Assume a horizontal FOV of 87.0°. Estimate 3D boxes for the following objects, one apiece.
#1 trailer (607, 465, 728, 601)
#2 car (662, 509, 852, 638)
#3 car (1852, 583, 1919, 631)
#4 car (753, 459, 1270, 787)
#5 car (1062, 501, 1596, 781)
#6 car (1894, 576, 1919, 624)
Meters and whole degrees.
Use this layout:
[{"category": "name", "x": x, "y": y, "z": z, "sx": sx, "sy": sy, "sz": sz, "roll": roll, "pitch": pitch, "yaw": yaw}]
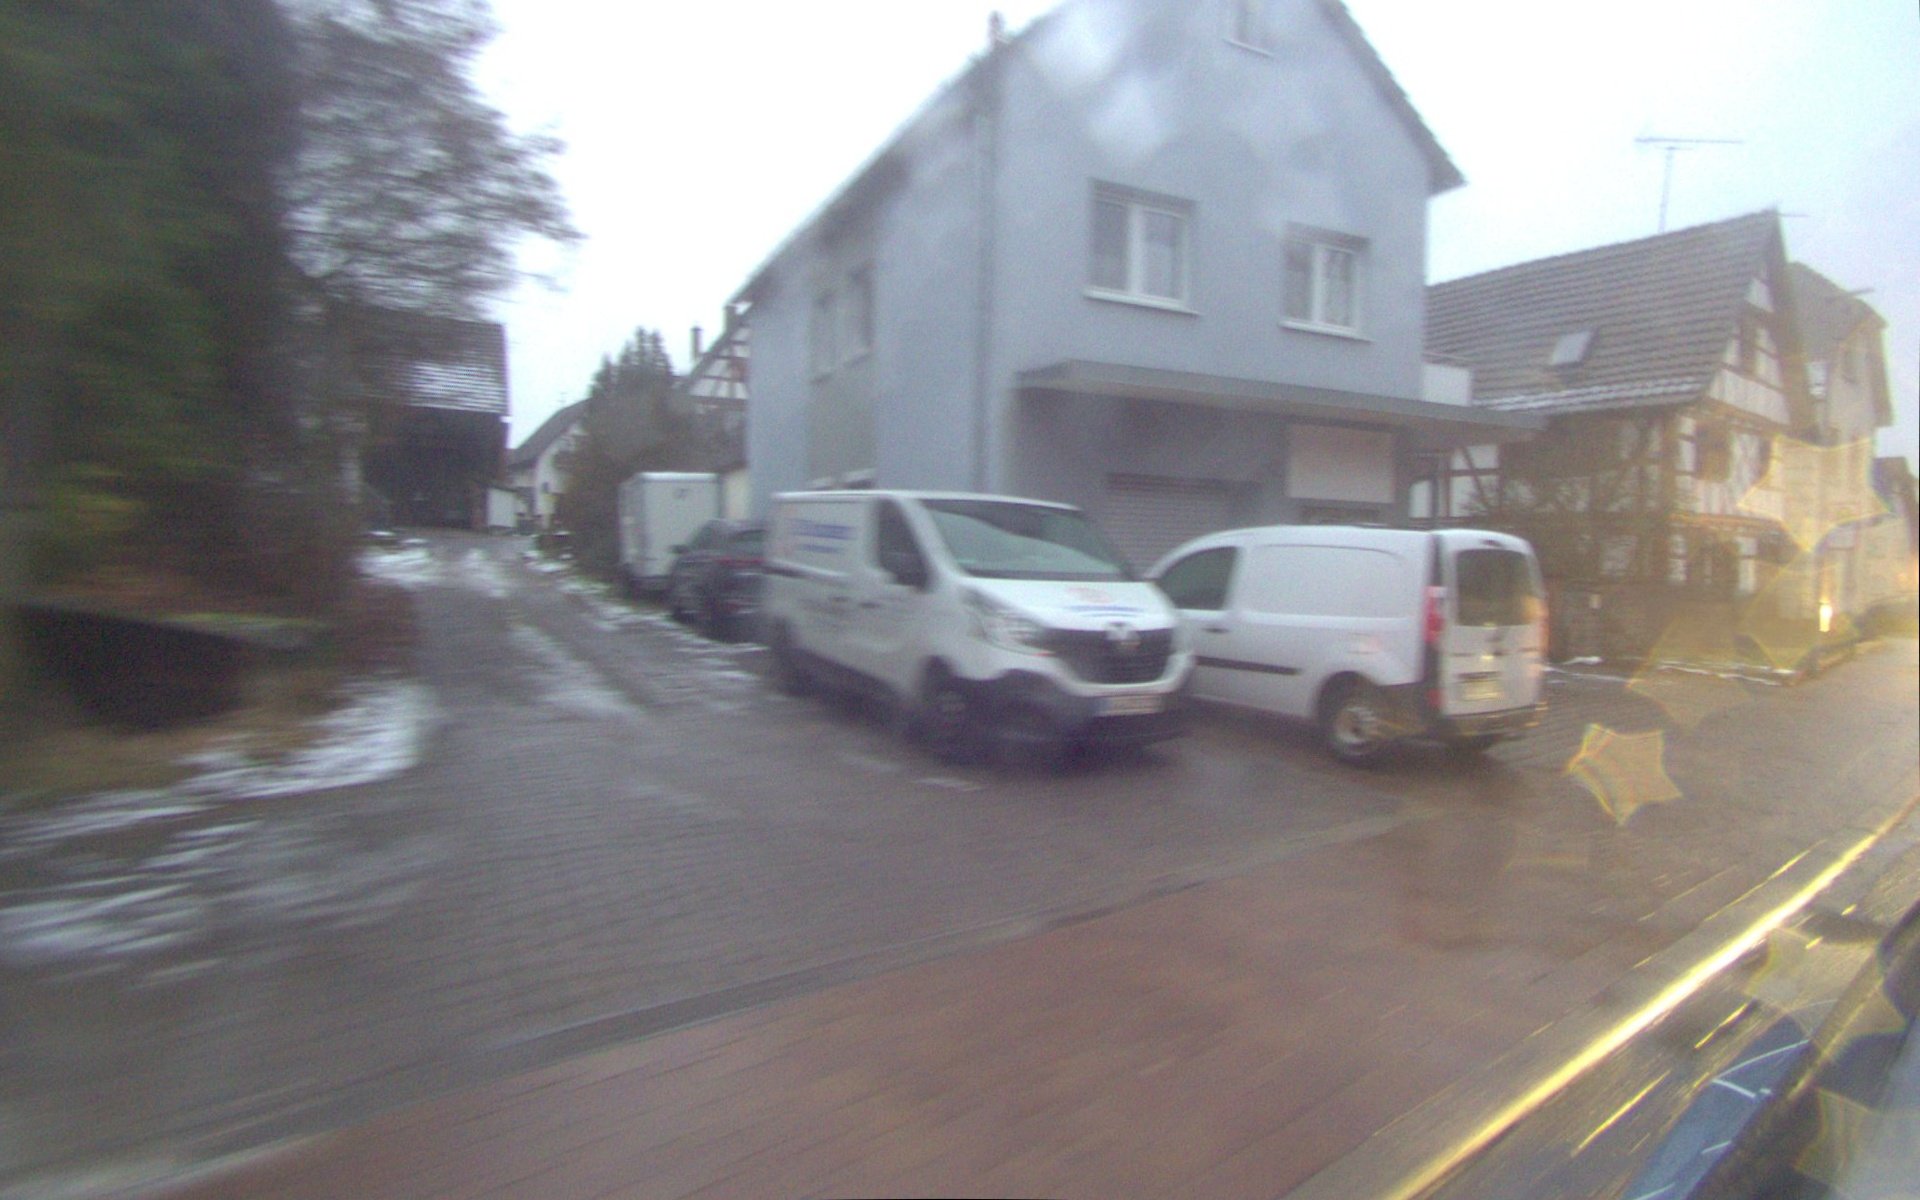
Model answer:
[{"category": "trailer", "x": -6.179, "y": -1.477, "z": 21.065, "sx": 1.801, "sy": 2.546, "sz": 4.012, "roll": 0, "pitch": 6, "yaw": -25}, {"category": "car", "x": -3.206, "y": -0.503, "z": 15.299, "sx": 1.842, "sy": 1.641, "sz": 4.010, "roll": 0, "pitch": 5, "yaw": -26}, {"category": "car", "x": 35.708, "y": 0.298, "z": 37.543, "sx": 3.843, "sy": 1.647, "sz": 1.586, "roll": 4, "pitch": 3, "yaw": 44}, {"category": "car", "x": -0.008, "y": -0.031, "z": 8.540, "sx": 1.898, "sy": 1.911, "sz": 5.006, "roll": 1, "pitch": 4, "yaw": -30}, {"category": "car", "x": 2.929, "y": 0.125, "z": 8.913, "sx": 1.828, "sy": 1.865, "sz": 4.059, "roll": 0, "pitch": 4, "yaw": -34}, {"category": "car", "x": 40.138, "y": 0.054, "z": 40.550, "sx": 3.878, "sy": 1.900, "sz": 1.840, "roll": 3, "pitch": 2, "yaw": 43}]
